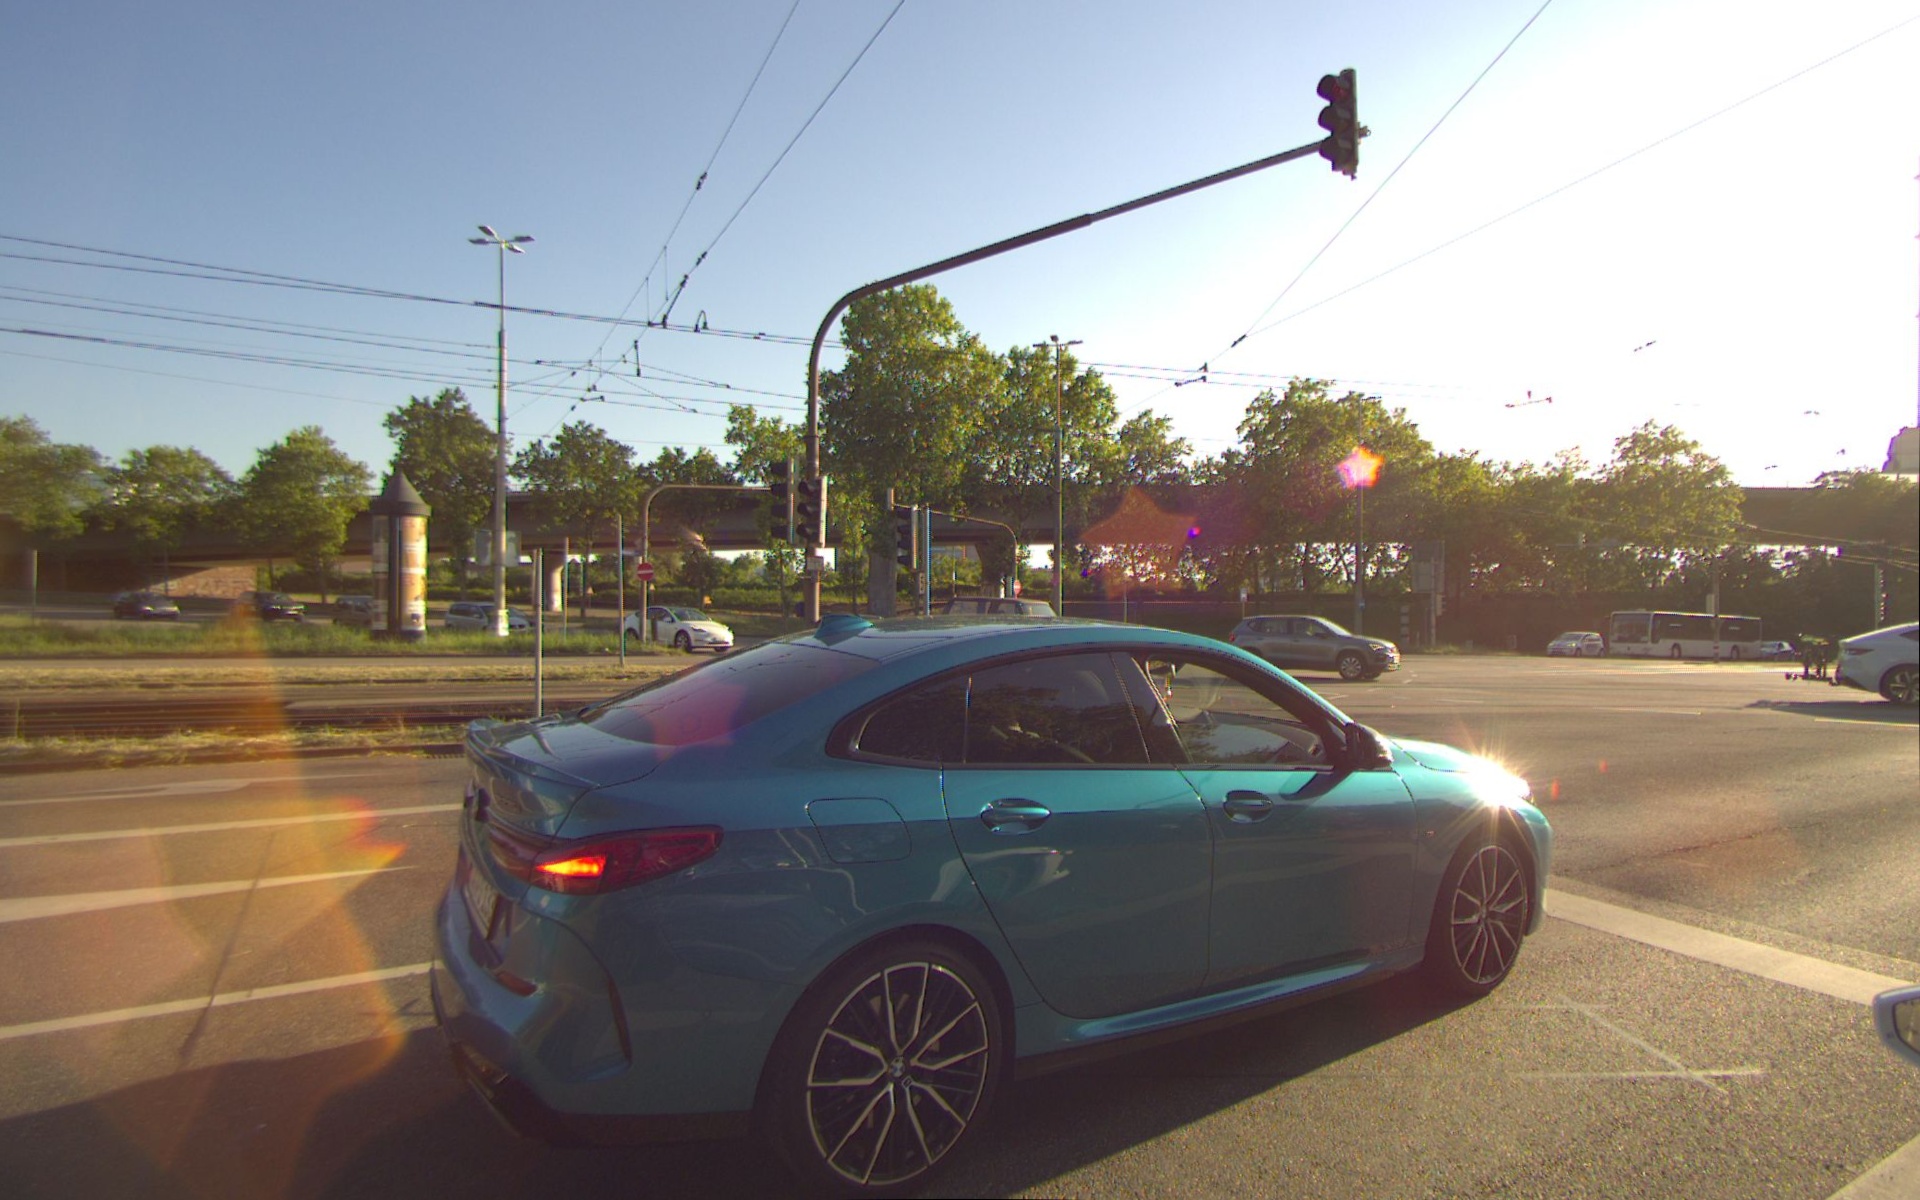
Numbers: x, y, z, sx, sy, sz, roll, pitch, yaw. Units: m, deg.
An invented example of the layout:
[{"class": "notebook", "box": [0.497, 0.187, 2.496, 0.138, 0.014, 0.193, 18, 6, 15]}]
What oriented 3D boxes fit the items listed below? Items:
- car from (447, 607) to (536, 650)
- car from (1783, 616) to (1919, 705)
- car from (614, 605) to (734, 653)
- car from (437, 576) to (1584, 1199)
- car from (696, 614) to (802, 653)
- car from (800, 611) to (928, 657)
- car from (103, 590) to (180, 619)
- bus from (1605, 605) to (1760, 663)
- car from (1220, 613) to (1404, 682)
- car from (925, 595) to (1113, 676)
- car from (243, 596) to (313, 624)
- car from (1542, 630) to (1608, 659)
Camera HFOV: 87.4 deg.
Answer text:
[{"class": "car", "box": [-19.951, 1.190, 42.748, 4.220, 1.653, 1.687, 1, 0, 38]}, {"class": "car", "box": [18.637, 1.140, 18.552, 5.286, 1.595, 1.733, 1, -1, 40]}, {"class": "car", "box": [-10.371, 1.020, 36.274, 4.691, 1.595, 1.687, 1, -1, 37]}, {"class": "car", "box": [0.445, 0.747, 3.809, 4.162, 1.485, 1.704, 1, -1, -33]}, {"class": "car", "box": [-8.543, 1.313, 40.527, 4.419, 1.387, 1.687, 1, -1, 37]}, {"class": "car", "box": [-3.463, 1.188, 35.933, 4.549, 1.478, 1.688, 1, -1, 35]}, {"class": "car", "box": [-47.087, 0.264, 57.778, 3.858, 1.546, 1.723, 1, 0, 20]}, {"class": "bus", "box": [45.573, 2.223, 63.120, 12.756, 3.171, 2.534, 3, -2, -28]}, {"class": "car", "box": [9.071, 1.165, 26.042, 4.181, 1.595, 1.687, 1, -1, 37]}, {"class": "car", "box": [1.555, 0.900, 27.631, 4.868, 2.017, 2.029, 1, -1, 39]}, {"class": "car", "box": [-39.985, 0.564, 58.872, 4.334, 1.546, 1.621, 1, -1, 30]}, {"class": "car", "box": [35.112, 2.521, 57.314, 3.964, 1.532, 1.598, 2, 0, -32]}]
